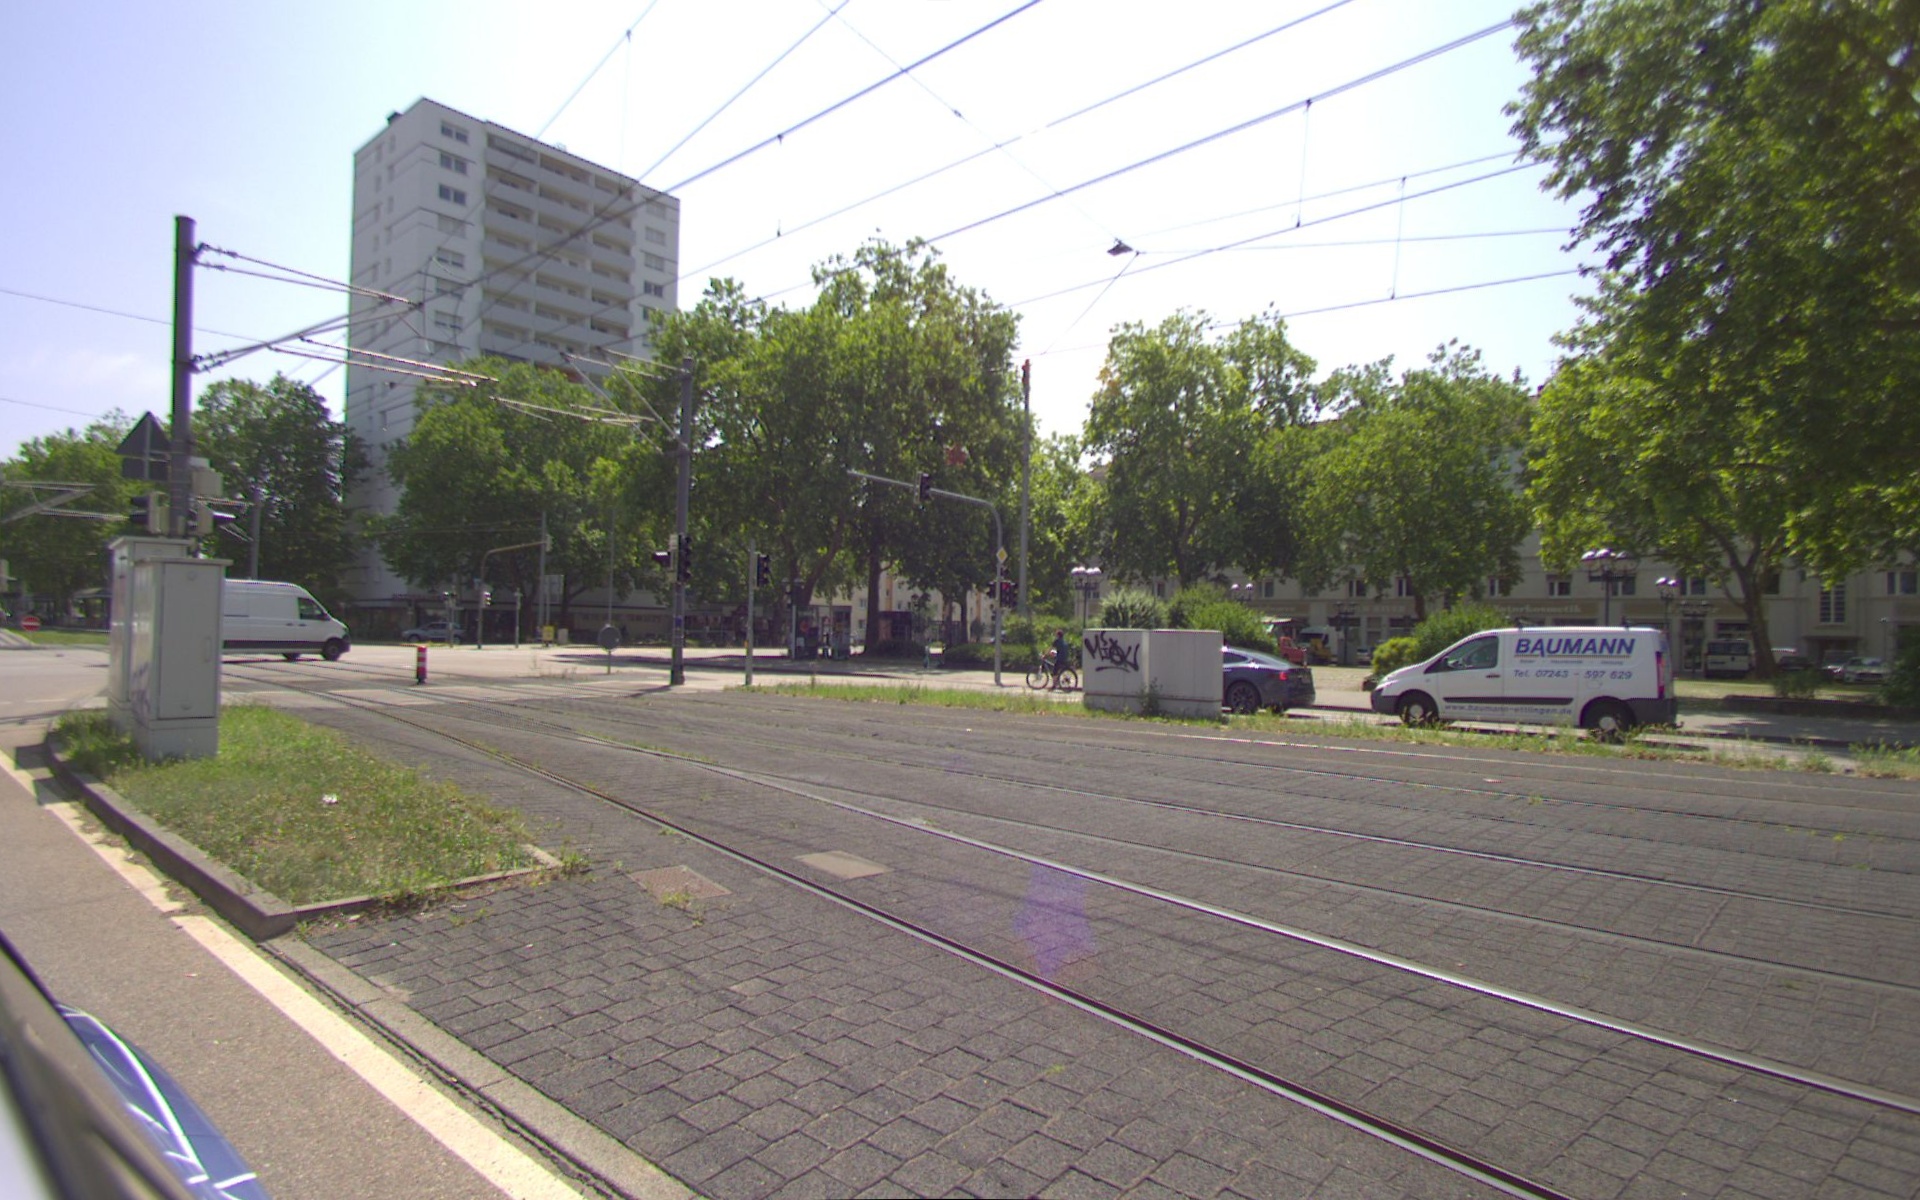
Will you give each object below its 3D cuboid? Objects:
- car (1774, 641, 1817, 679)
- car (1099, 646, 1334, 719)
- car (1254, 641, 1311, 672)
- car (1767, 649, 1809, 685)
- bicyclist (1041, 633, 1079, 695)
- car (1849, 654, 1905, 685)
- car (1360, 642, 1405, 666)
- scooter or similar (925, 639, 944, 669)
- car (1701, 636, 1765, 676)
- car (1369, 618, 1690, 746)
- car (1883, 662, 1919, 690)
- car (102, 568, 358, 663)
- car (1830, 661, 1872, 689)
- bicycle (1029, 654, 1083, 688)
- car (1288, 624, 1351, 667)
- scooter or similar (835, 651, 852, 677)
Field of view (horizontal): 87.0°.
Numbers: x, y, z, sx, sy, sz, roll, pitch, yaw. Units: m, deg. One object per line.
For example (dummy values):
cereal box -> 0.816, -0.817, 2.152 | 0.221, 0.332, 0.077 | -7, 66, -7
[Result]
car -> 41.747, 2.954, 50.574 | 1.621, 1.759, 3.658 | -1, -2, 40
car -> 5.529, 1.722, 22.115 | 4.624, 1.369, 1.927 | -1, -3, 40
car -> 15.528, 2.678, 48.632 | 1.471, 1.394, 3.300 | -1, -2, 40
car -> 48.479, 3.875, 59.250 | 1.574, 1.964, 3.869 | -1, -2, 44
bicyclist -> 2.784, 1.773, 28.199 | 0.867, 1.698, 0.632 | -1, -2, 38
car -> 43.654, 3.288, 48.255 | 1.826, 1.303, 3.818 | -1, -2, 40
car -> 26.972, 3.420, 64.556 | 1.621, 1.420, 3.658 | -1, -2, 40
scooter or similar -> -0.981, 2.039, 38.416 | 0.253, 1.129, 0.862 | 2, -2, -37
car -> 39.880, 2.848, 52.166 | 2.166, 1.964, 3.942 | -1, -2, 44
car -> 10.073, 1.349, 18.166 | 4.800, 2.006, 1.759 | -1, -3, 40
car -> 52.111, 4.170, 55.927 | 1.535, 1.420, 3.610 | -1, -2, 44
car -> -22.655, 0.536, 31.913 | 2.060, 2.657, 6.594 | 1, -2, 18
car -> 50.279, 4.185, 57.085 | 1.622, 1.420, 3.869 | -1, -2, 44
bicycle -> 2.670, 1.969, 28.233 | 1.481, 0.889, 0.491 | -1, -2, 39
car -> 24.004, 2.994, 67.453 | 2.106, 2.680, 5.634 | -1, -2, 40
scooter or similar -> -5.109, 2.812, 44.438 | 0.253, 1.129, 0.979 | 2, -2, -37
